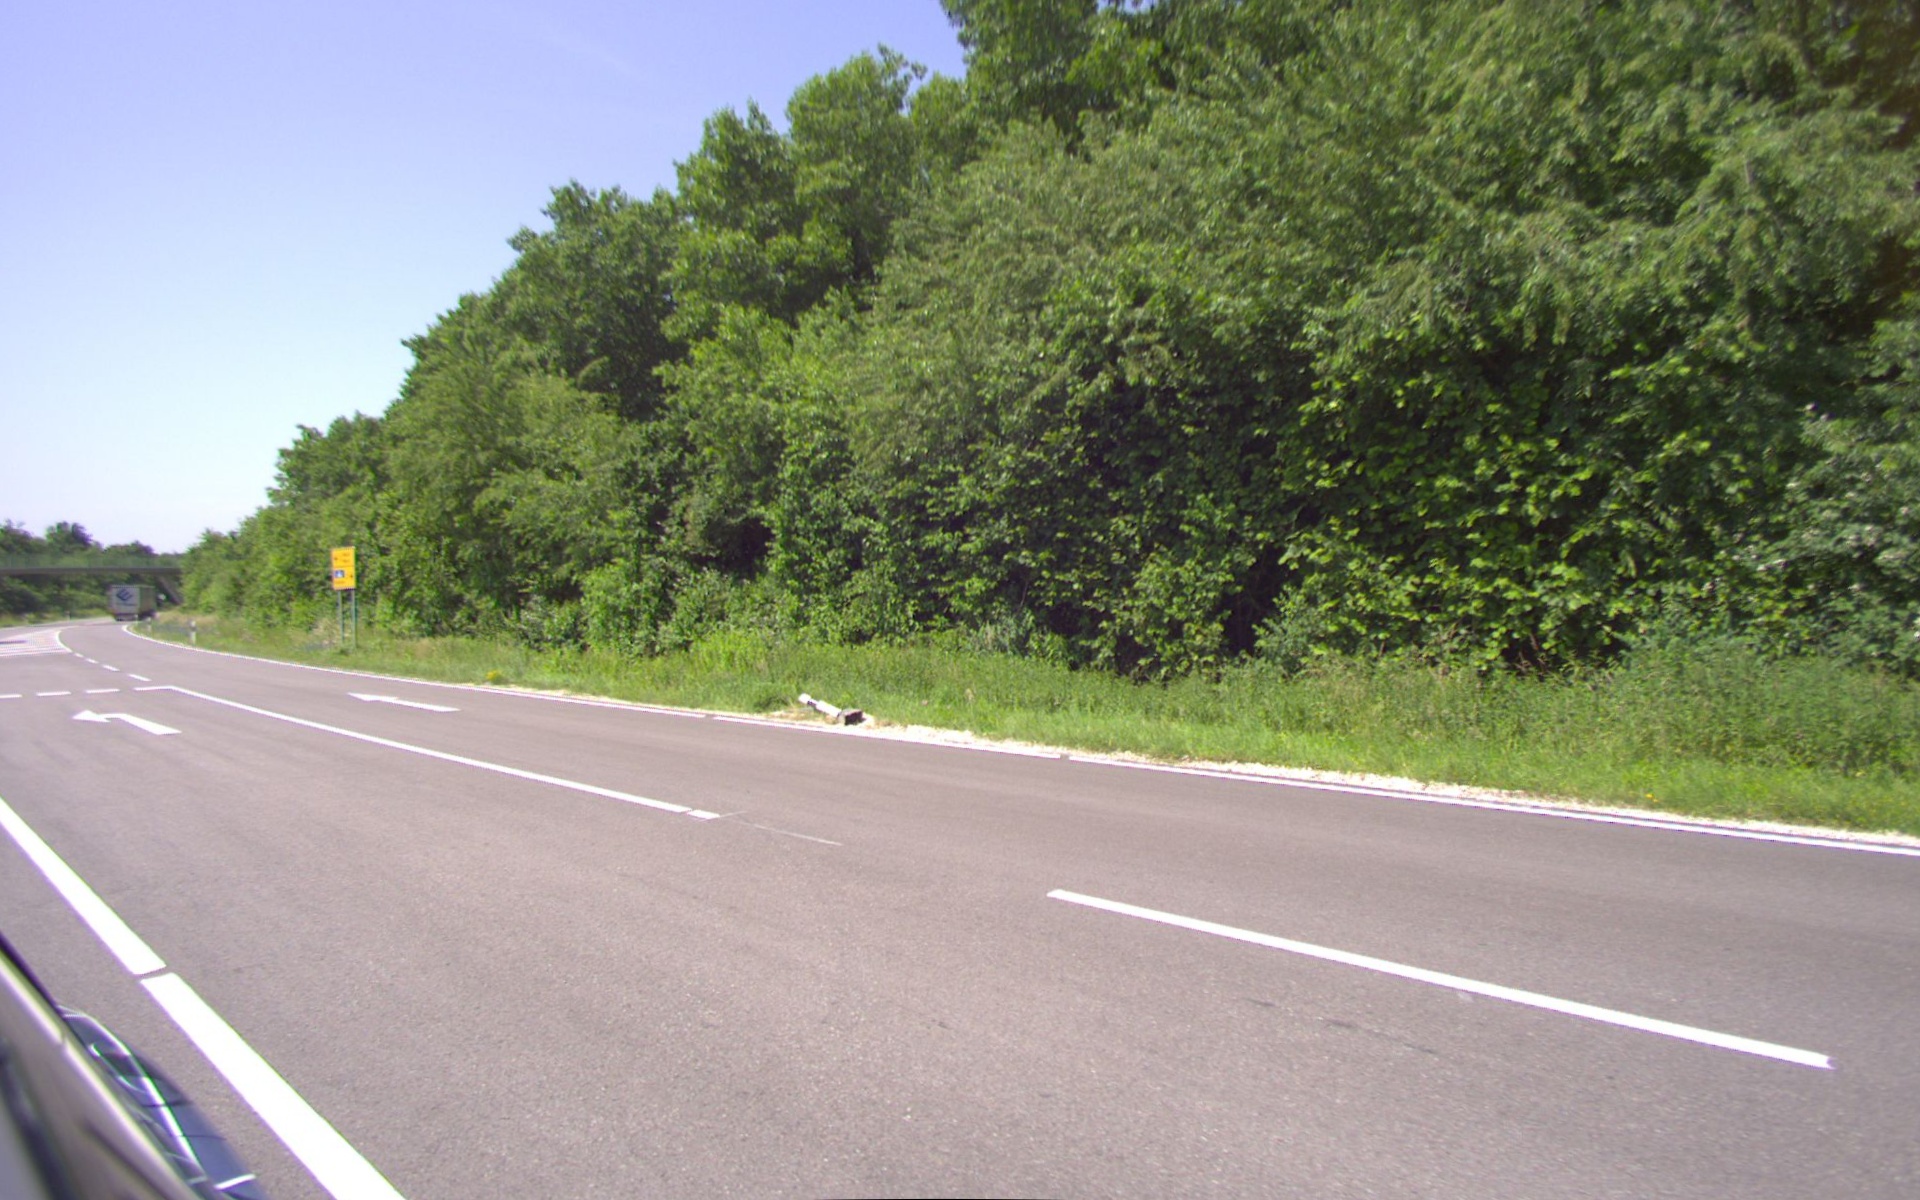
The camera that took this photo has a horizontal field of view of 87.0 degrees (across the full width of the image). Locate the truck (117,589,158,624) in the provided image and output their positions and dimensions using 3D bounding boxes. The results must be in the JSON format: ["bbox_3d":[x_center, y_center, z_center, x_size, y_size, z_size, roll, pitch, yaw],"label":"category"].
[{"bbox_3d":[-100.966,0.794,124.337,2.760,4.126,11.093,-1,0,-33],"label":"truck"}]

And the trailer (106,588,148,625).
[{"bbox_3d":[-96.038,0.729,116.818,2.790,4.126,9.025,-1,0,-33],"label":"trailer"}]
